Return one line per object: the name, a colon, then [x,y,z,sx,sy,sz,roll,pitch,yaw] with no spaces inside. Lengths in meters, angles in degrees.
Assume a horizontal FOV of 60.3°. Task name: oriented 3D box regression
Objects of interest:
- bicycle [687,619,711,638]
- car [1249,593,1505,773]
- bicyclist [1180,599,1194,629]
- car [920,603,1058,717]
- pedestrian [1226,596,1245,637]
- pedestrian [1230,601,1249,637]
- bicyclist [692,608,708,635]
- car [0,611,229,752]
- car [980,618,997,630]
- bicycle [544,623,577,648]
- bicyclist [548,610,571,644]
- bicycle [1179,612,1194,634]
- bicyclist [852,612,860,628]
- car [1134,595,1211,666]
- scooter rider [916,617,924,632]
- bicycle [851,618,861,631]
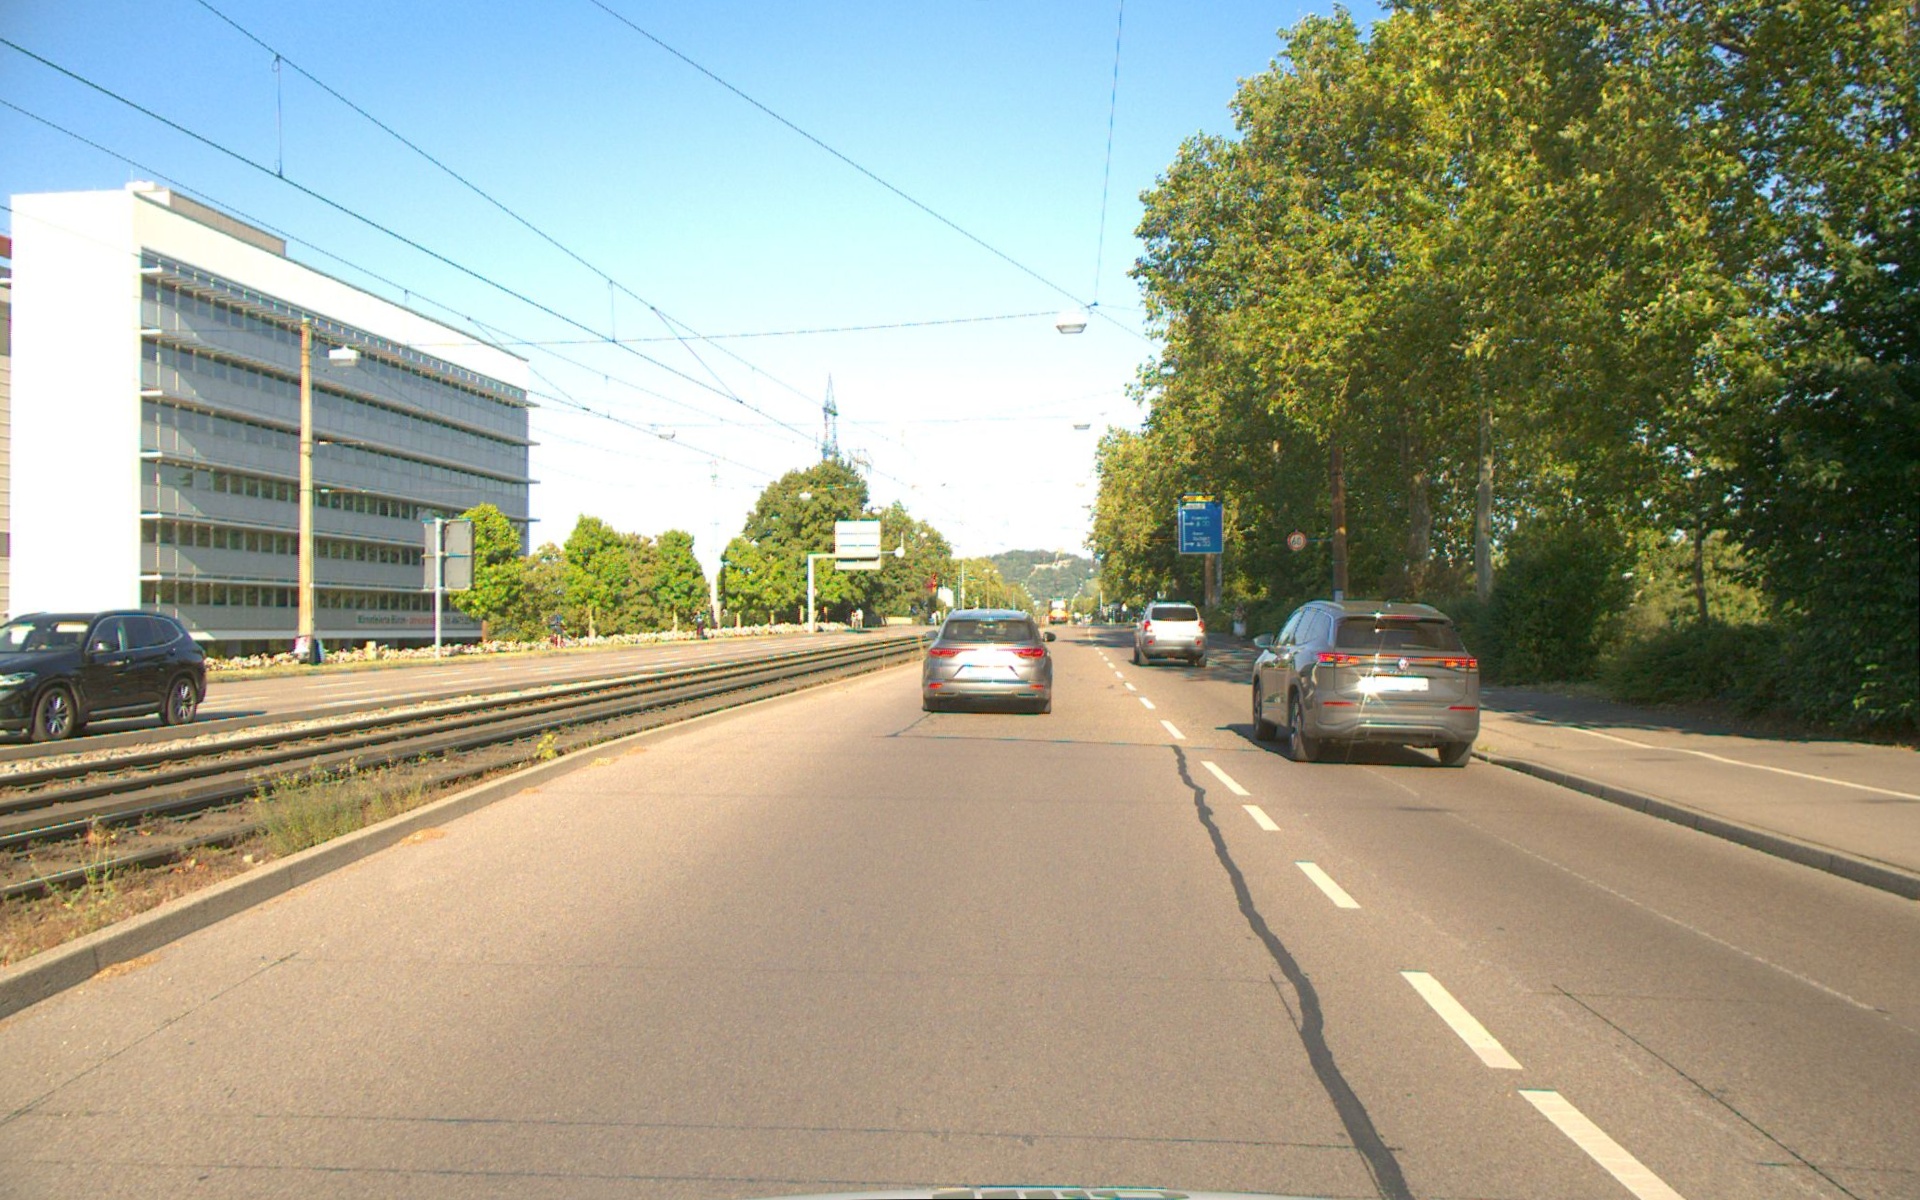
bicycle: [-15.975,1.742,101.227,0.647,1.171,2.023,2,0,14]
car: [4.382,0.794,18.058,1.806,1.690,4.441,1,0,2]
bicyclist: [11.594,0.728,84.480,0.671,1.535,0.891,0,0,4]
car: [0.494,0.813,24.603,1.827,1.493,4.667,1,0,3]
pedestrian: [11.952,0.728,71.671,0.707,1.737,0.813,-1,-1,4]
pedestrian: [11.917,0.824,70.478,0.708,1.506,0.722,-1,-1,4]
bicyclist: [-15.942,1.314,101.313,0.647,1.652,0.802,2,0,14]
car: [-12.102,1.022,22.445,1.951,1.684,4.661,-1,0,5]
car: [3.779,3.185,219.731,1.996,1.529,4.890,-1,0,5]
bicycle: [-18.882,1.667,78.239,0.690,1.092,2.029,2,0,11]
bicyclist: [-18.912,1.266,78.067,0.690,1.539,0.971,2,0,11]
bicycle: [11.586,1.170,84.580,0.609,1.140,1.814,-1,-1,4]
bicyclist: [-9.299,1.778,147.764,0.611,1.398,0.880,2,0,5]
car: [5.831,0.808,45.779,1.844,1.827,4.002,2,0,4]
scooter rider: [-4.871,2.960,201.717,0.667,1.881,1.001,-1,-1,12]
bicycle: [-9.306,2.170,147.749,0.611,1.077,1.704,2,0,5]
